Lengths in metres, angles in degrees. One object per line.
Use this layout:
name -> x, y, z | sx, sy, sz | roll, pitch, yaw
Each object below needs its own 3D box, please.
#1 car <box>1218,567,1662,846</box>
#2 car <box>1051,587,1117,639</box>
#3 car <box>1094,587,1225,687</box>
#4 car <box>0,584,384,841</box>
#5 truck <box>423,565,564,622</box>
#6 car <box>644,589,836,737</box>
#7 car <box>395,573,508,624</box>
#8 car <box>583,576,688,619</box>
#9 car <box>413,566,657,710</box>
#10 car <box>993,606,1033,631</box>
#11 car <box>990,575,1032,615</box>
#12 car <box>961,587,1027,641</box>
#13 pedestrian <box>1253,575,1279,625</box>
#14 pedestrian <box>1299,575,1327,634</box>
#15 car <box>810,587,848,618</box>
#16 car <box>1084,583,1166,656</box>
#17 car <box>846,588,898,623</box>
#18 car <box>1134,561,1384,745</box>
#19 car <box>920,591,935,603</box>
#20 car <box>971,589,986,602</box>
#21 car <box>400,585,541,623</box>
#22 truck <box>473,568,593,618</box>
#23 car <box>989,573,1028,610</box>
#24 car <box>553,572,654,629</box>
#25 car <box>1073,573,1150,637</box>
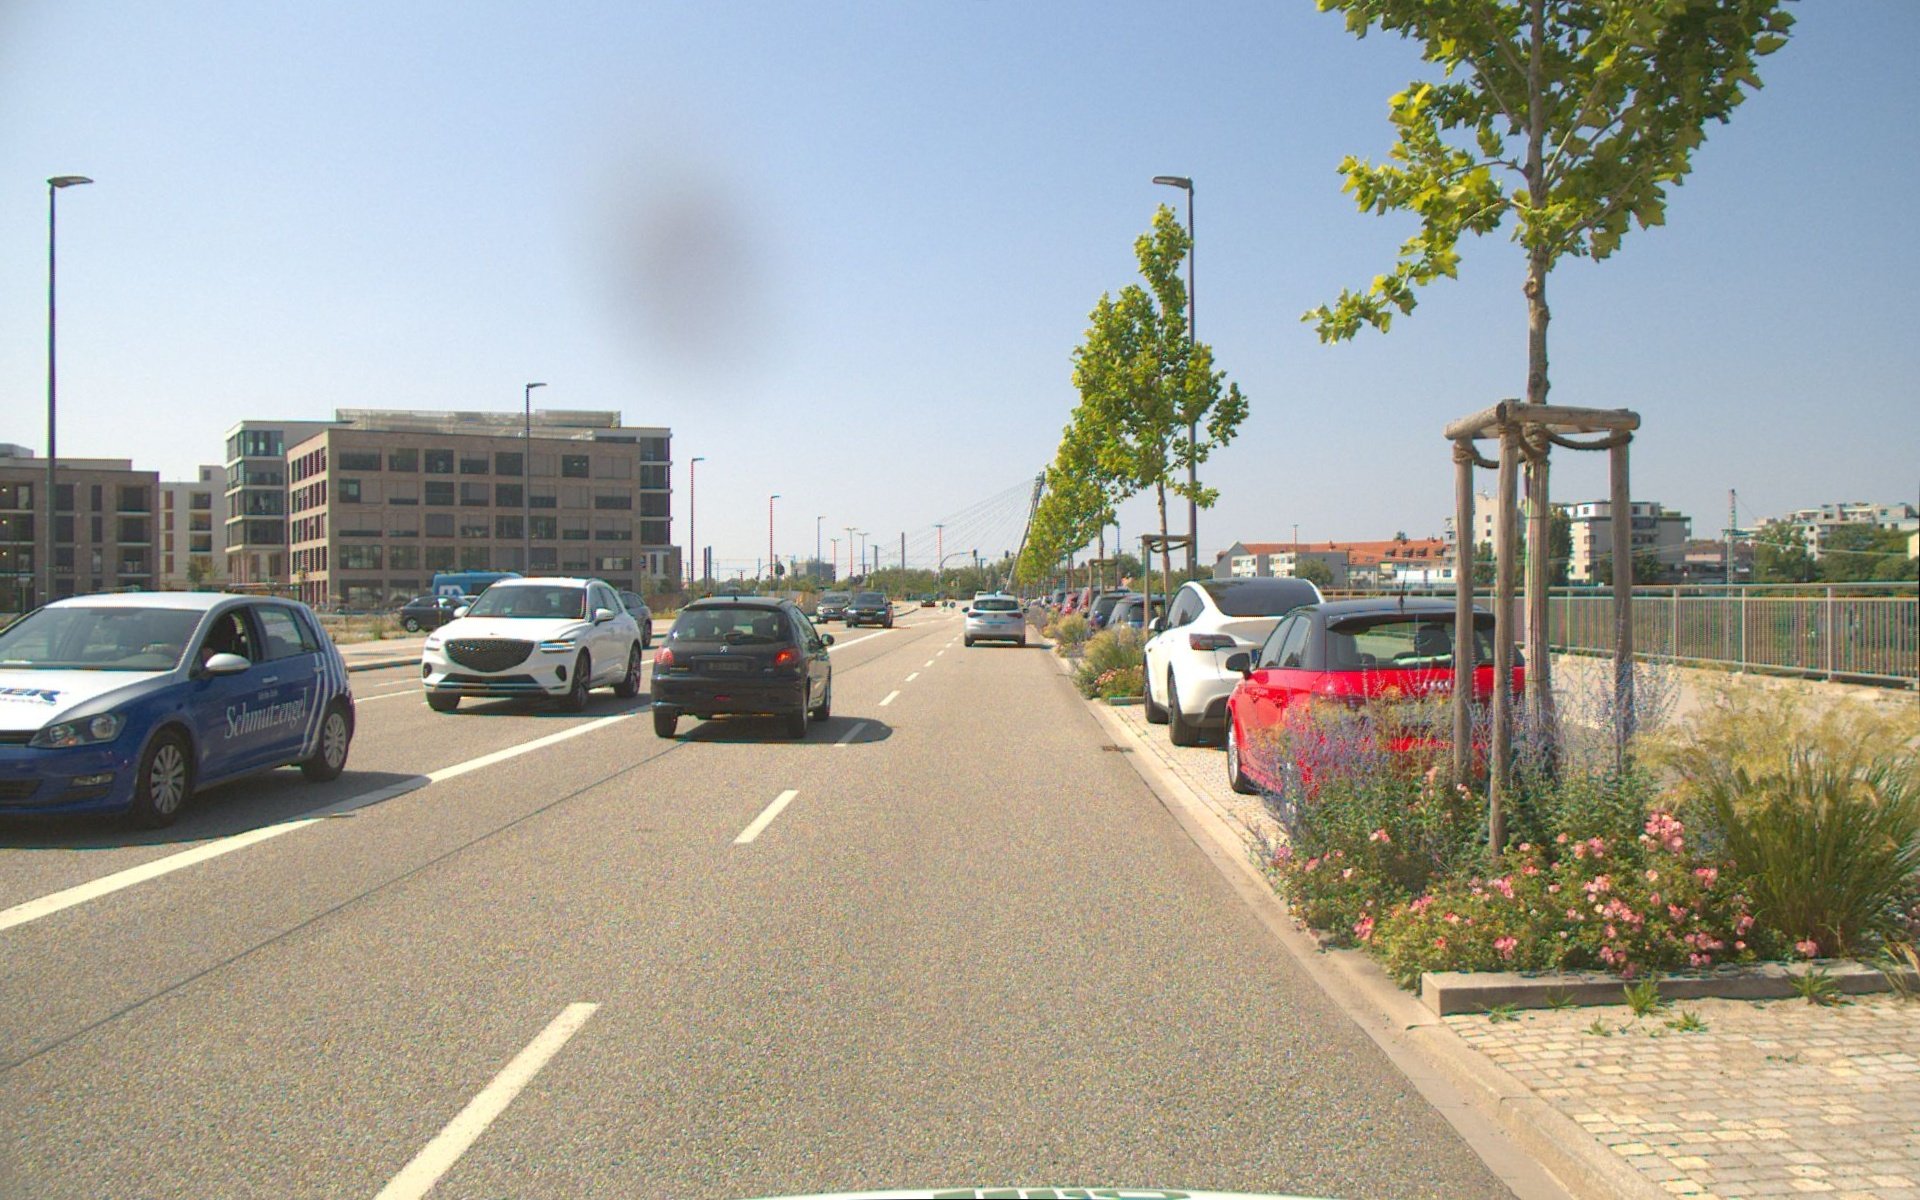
car -> 3.018, 0.589, 11.325 | 1.952, 1.545, 4.001 | 1, 0, 1
car -> 3.888, 0.404, 52.224 | 1.572, 1.518, 3.816 | -2, 0, -3
car -> 3.268, 0.562, 27.799 | 1.868, 1.505, 4.159 | -1, 1, 3
car -> -5.687, 0.644, 11.503 | 1.749, 1.446, 4.282 | 1, 0, 2
truck -> -21.548, -0.279, 76.648 | 5.883, 2.588, 2.274 | 0, -1, -2
car -> -2.337, 0.642, 18.406 | 1.586, 1.441, 3.727 | 1, 0, 0
car -> -20.372, -0.059, 66.344 | 3.902, 1.937, 1.829 | 1, -1, 9
car -> -18.019, -0.121, 92.044 | 5.333, 2.211, 2.394 | 1, -1, -2
car -> -5.450, 0.448, 21.877 | 1.873, 1.678, 4.731 | 0, 0, 2
car -> 2.934, 1.030, 91.789 | 1.601, 1.333, 3.994 | 1, 0, -7
car -> 2.392, -0.220, 78.716 | 1.757, 1.780, 3.999 | 1, -1, -1
car -> 1.028, 0.393, 48.139 | 1.741, 1.467, 4.002 | 1, 0, 4
pedestrian -> 10.864, 0.000, 58.685 | 0.764, 1.735, 0.742 | 1, -1, 2
pedestrian -> 10.493, 0.143, 49.168 | 0.716, 1.735, 0.651 | 1, -1, 2
car -> -6.746, 0.149, 85.549 | 1.758, 1.441, 3.998 | 1, -1, -2
car -> 3.578, 0.384, 36.328 | 1.586, 1.505, 3.825 | -1, 1, 2
car -> -3.734, 0.232, 70.663 | 1.750, 1.422, 4.573 | 0, 0, 3
car -> 3.029, 0.510, 17.787 | 1.833, 1.656, 4.876 | 1, 0, 1
car -> -4.042, -0.339, 204.104 | 1.668, 1.376, 4.457 | -1, -1, 1
car -> 2.436, -0.562, 213.100 | 1.816, 1.678, 4.001 | 1, 0, 1
car -> -21.364, 0.194, 72.342 | 5.536, 1.500, 2.106 | 1, -1, -1
truck -> -21.588, -0.330, 83.763 | 5.452, 2.404, 2.275 | -1, 0, 0
car -> 2.332, -0.381, 78.340 | 1.741, 1.596, 4.001 | 1, -1, 3
car -> -9.666, 0.032, 45.134 | 1.854, 1.440, 3.598 | 1, -1, 1
car -> 4.049, 0.101, 44.778 | 1.869, 1.645, 4.550 | -1, 1, 3
